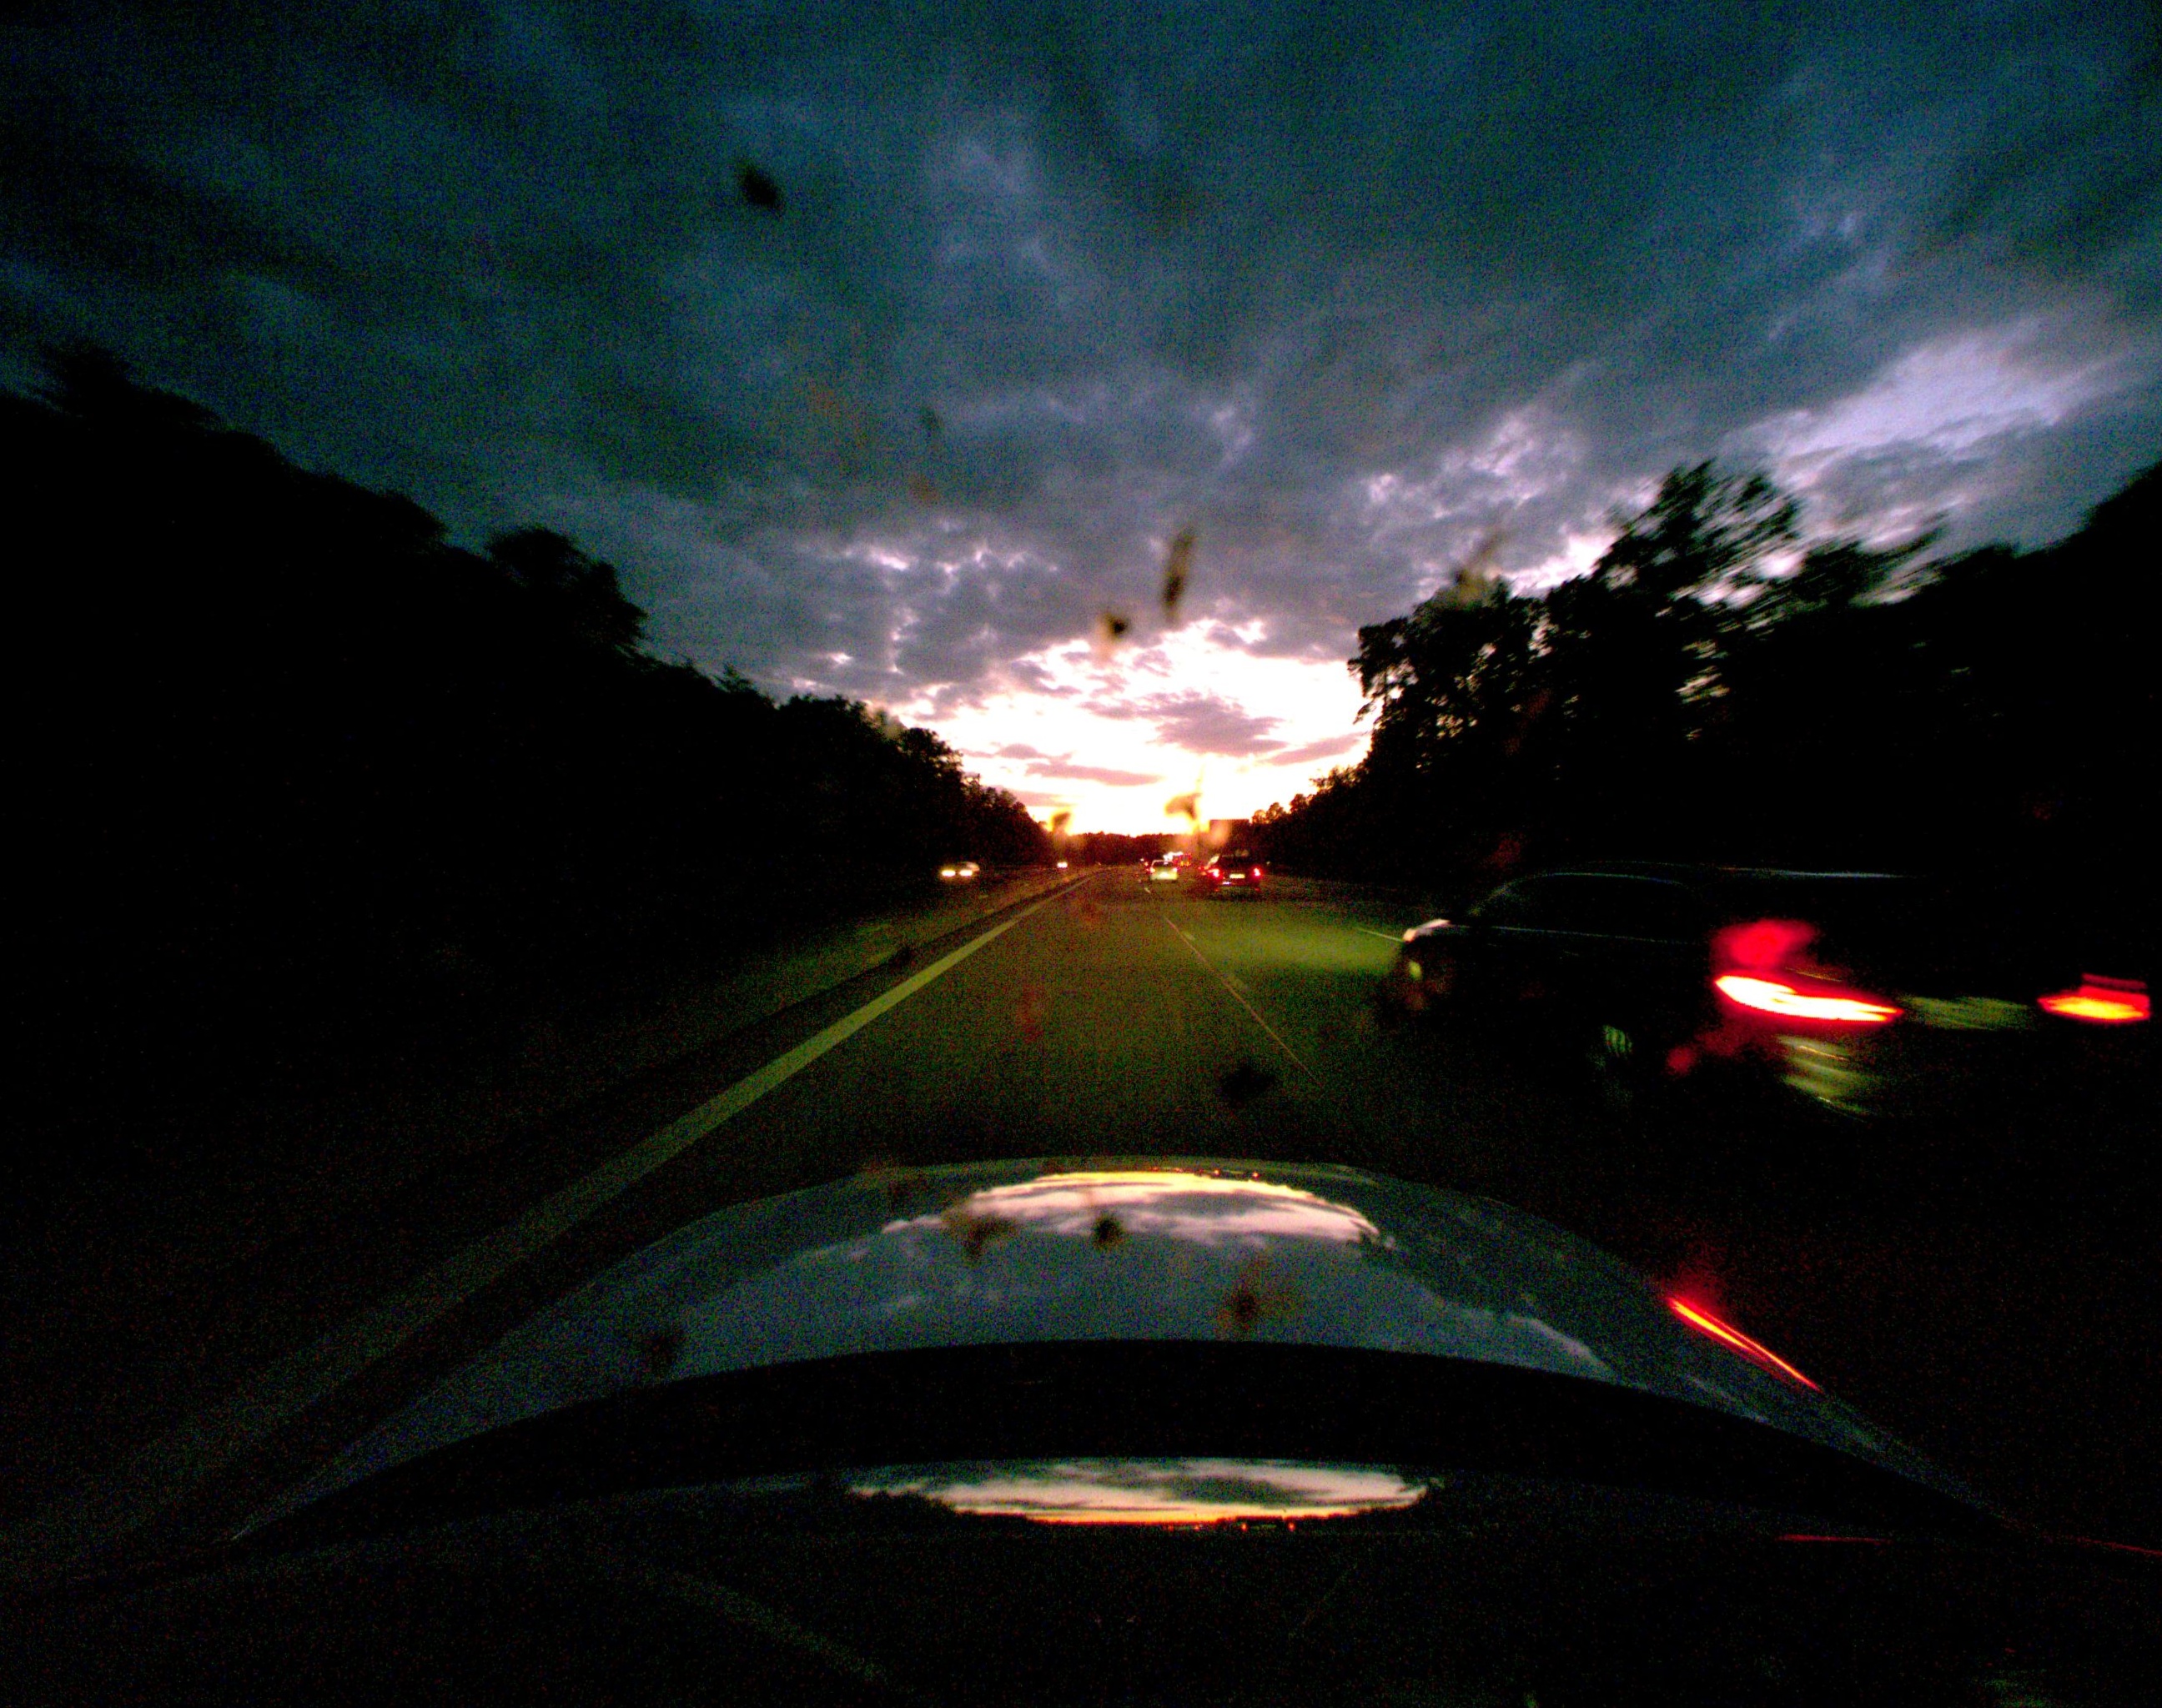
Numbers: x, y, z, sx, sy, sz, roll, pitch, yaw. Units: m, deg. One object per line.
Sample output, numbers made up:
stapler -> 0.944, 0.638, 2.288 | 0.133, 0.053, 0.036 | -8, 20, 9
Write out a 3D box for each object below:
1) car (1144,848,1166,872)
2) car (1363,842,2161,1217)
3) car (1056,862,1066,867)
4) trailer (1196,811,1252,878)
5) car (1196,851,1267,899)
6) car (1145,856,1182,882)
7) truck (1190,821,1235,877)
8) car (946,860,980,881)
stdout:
car -> 7.821, 0.692, 85.321 | 2.154, 2.419, 5.573 | -1, -1, 6
car -> 3.909, 0.705, 6.049 | 1.902, 1.537, 5.233 | -1, 1, 1
car -> -5.382, 2.795, 219.772 | 1.830, 1.463, 4.013 | 0, 0, 12
trailer -> 9.602, -0.500, 55.824 | 2.893, 4.101, 10.371 | -1, -1, 5
car -> 5.563, 0.740, 30.695 | 1.895, 1.643, 5.054 | -1, 0, 2
car -> 5.071, 0.891, 50.545 | 1.853, 1.442, 3.720 | -1, 1, 0
truck -> 10.561, -0.285, 66.342 | 2.871, 4.101, 10.846 | -1, -1, 5
car -> -8.584, 1.204, 59.600 | 1.612, 1.405, 4.318 | -1, 0, 3
